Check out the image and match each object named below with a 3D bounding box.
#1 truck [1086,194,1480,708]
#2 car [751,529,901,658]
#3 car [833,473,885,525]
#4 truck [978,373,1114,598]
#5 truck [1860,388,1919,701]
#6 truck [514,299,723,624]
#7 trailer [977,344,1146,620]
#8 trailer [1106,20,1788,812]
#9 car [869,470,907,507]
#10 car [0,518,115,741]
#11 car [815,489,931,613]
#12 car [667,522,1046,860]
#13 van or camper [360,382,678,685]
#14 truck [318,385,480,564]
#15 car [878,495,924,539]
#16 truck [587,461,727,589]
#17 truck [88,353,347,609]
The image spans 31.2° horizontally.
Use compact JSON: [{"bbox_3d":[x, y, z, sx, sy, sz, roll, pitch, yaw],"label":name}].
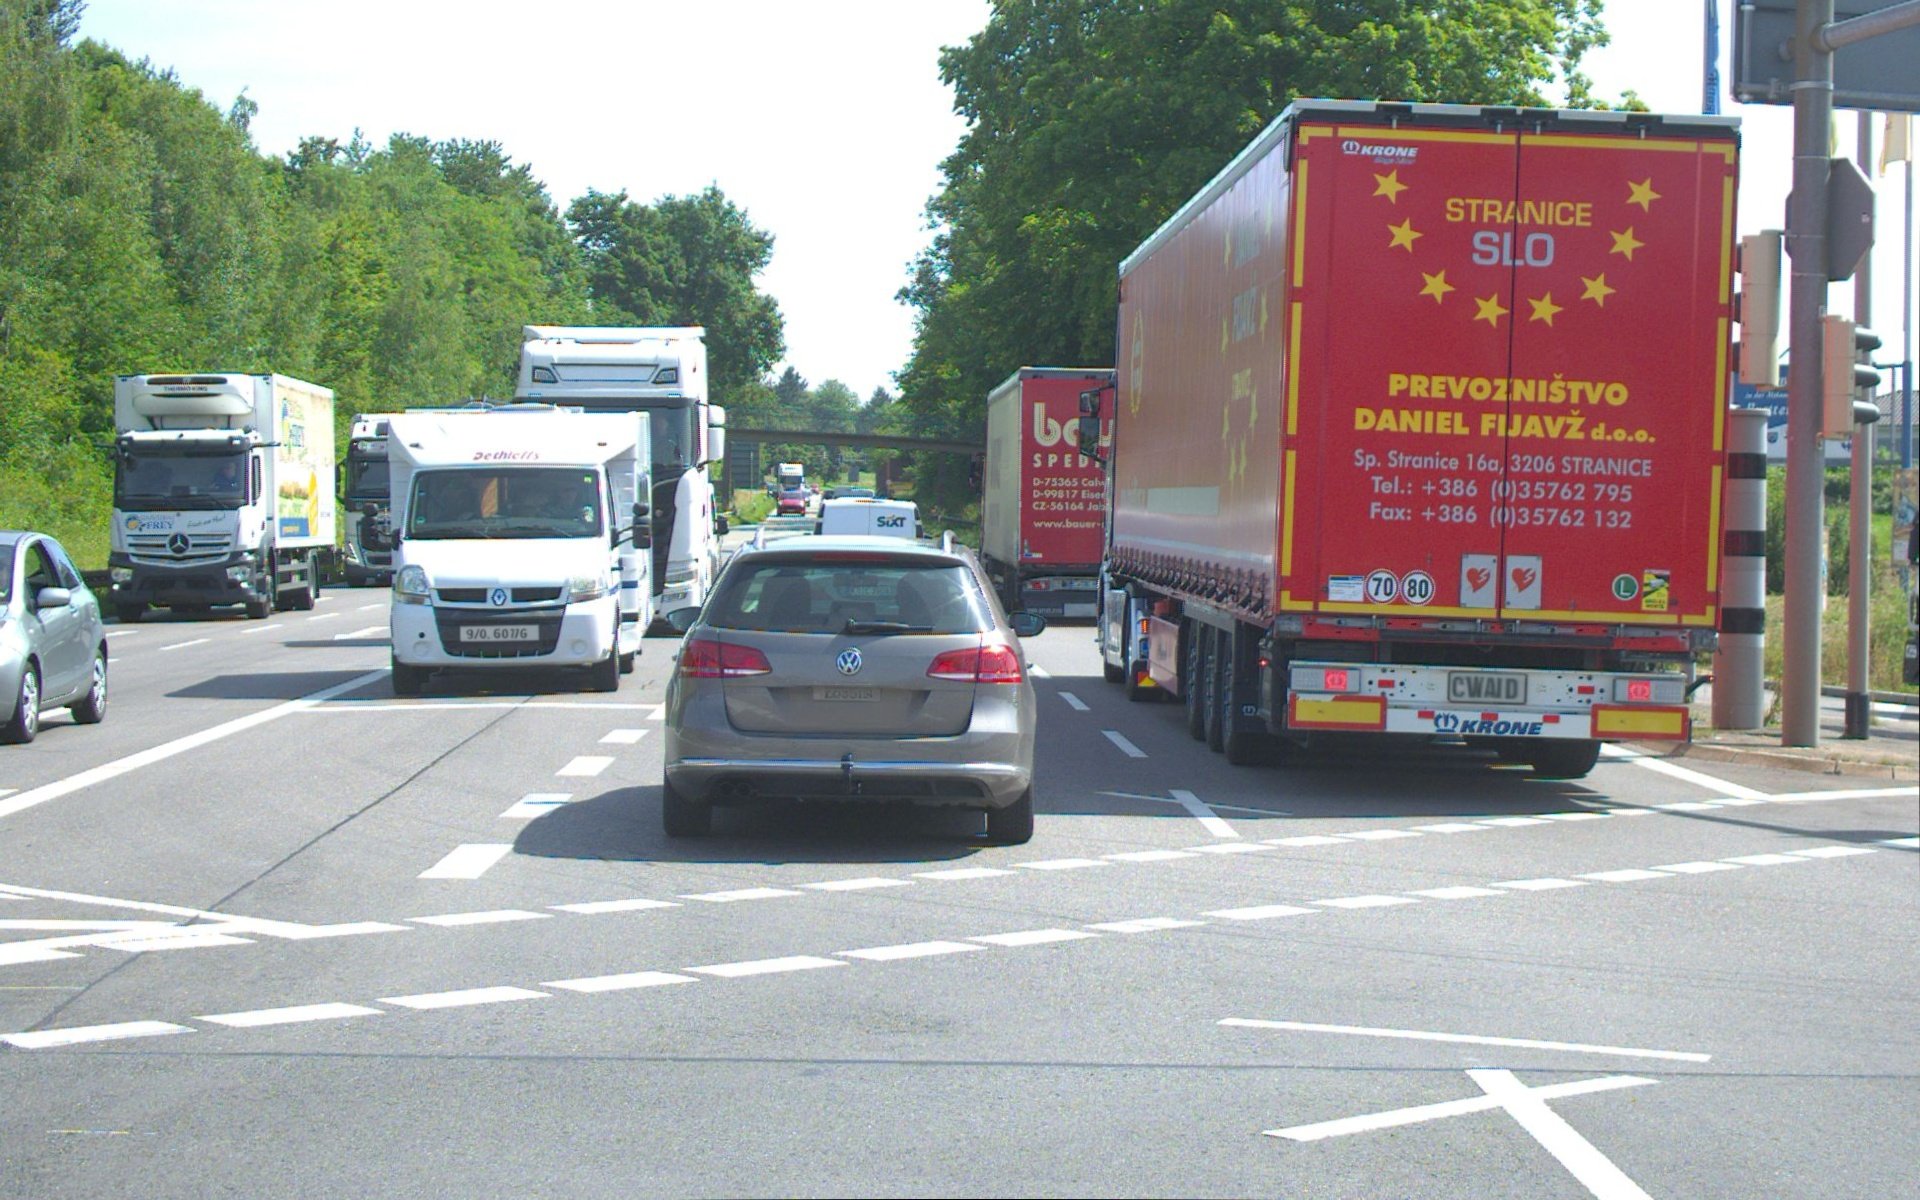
[{"bbox_3d":[2.849,-1.328,32.113,2.870,4.266,5.840,2,1,-1],"label":"truck"},{"bbox_3d":[-1.677,-0.118,42.583,1.770,1.508,4.001,0,1,-3],"label":"car"},{"bbox_3d":[-3.998,-3.979,135.632,1.993,2.007,4.001,0,1,-3],"label":"car"},{"bbox_3d":[1.590,-2.165,65.912,2.406,4.113,5.521,0,1,0],"label":"truck"},{"bbox_3d":[15.755,-0.255,40.703,9.667,3.615,2.768,5,0,-18],"label":"truck"},{"bbox_3d":[-4.507,-1.818,46.327,2.536,4.073,6.267,0,1,-3],"label":"truck"},{"bbox_3d":[1.596,-1.956,59.337,2.395,4.228,13.079,0,1,-1],"label":"trailer"},{"bbox_3d":[3.008,-1.178,25.870,2.839,4.350,13.169,2,1,-1],"label":"trailer"},{"bbox_3d":[-3.998,-6.200,190.842,1.993,2.007,4.001,0,1,-3],"label":"car"},{"bbox_3d":[-7.386,0.160,25.068,1.725,1.497,4.001,0,1,-4],"label":"car"},{"bbox_3d":[-1.439,-0.807,55.510,1.770,1.930,3.978,0,1,-3],"label":"car"},{"bbox_3d":[-0.555,0.360,17.388,1.691,1.508,4.001,0,1,-3],"label":"car"},{"bbox_3d":[-4.066,-0.653,32.956,2.330,2.591,6.980,0,1,-2],"label":"van or camper"},{"bbox_3d":[-13.514,-2.986,83.544,2.829,4.102,9.684,0,1,-3],"label":"truck"},{"bbox_3d":[-2.699,-3.777,156.719,1.993,2.007,4.001,0,1,-3],"label":"car"},{"bbox_3d":[-5.596,-1.403,64.213,2.227,2.260,6.501,0,1,-2],"label":"truck"},{"bbox_3d":[-12.443,-1.970,58.495,2.729,3.985,9.621,0,1,-3],"label":"truck"}]
